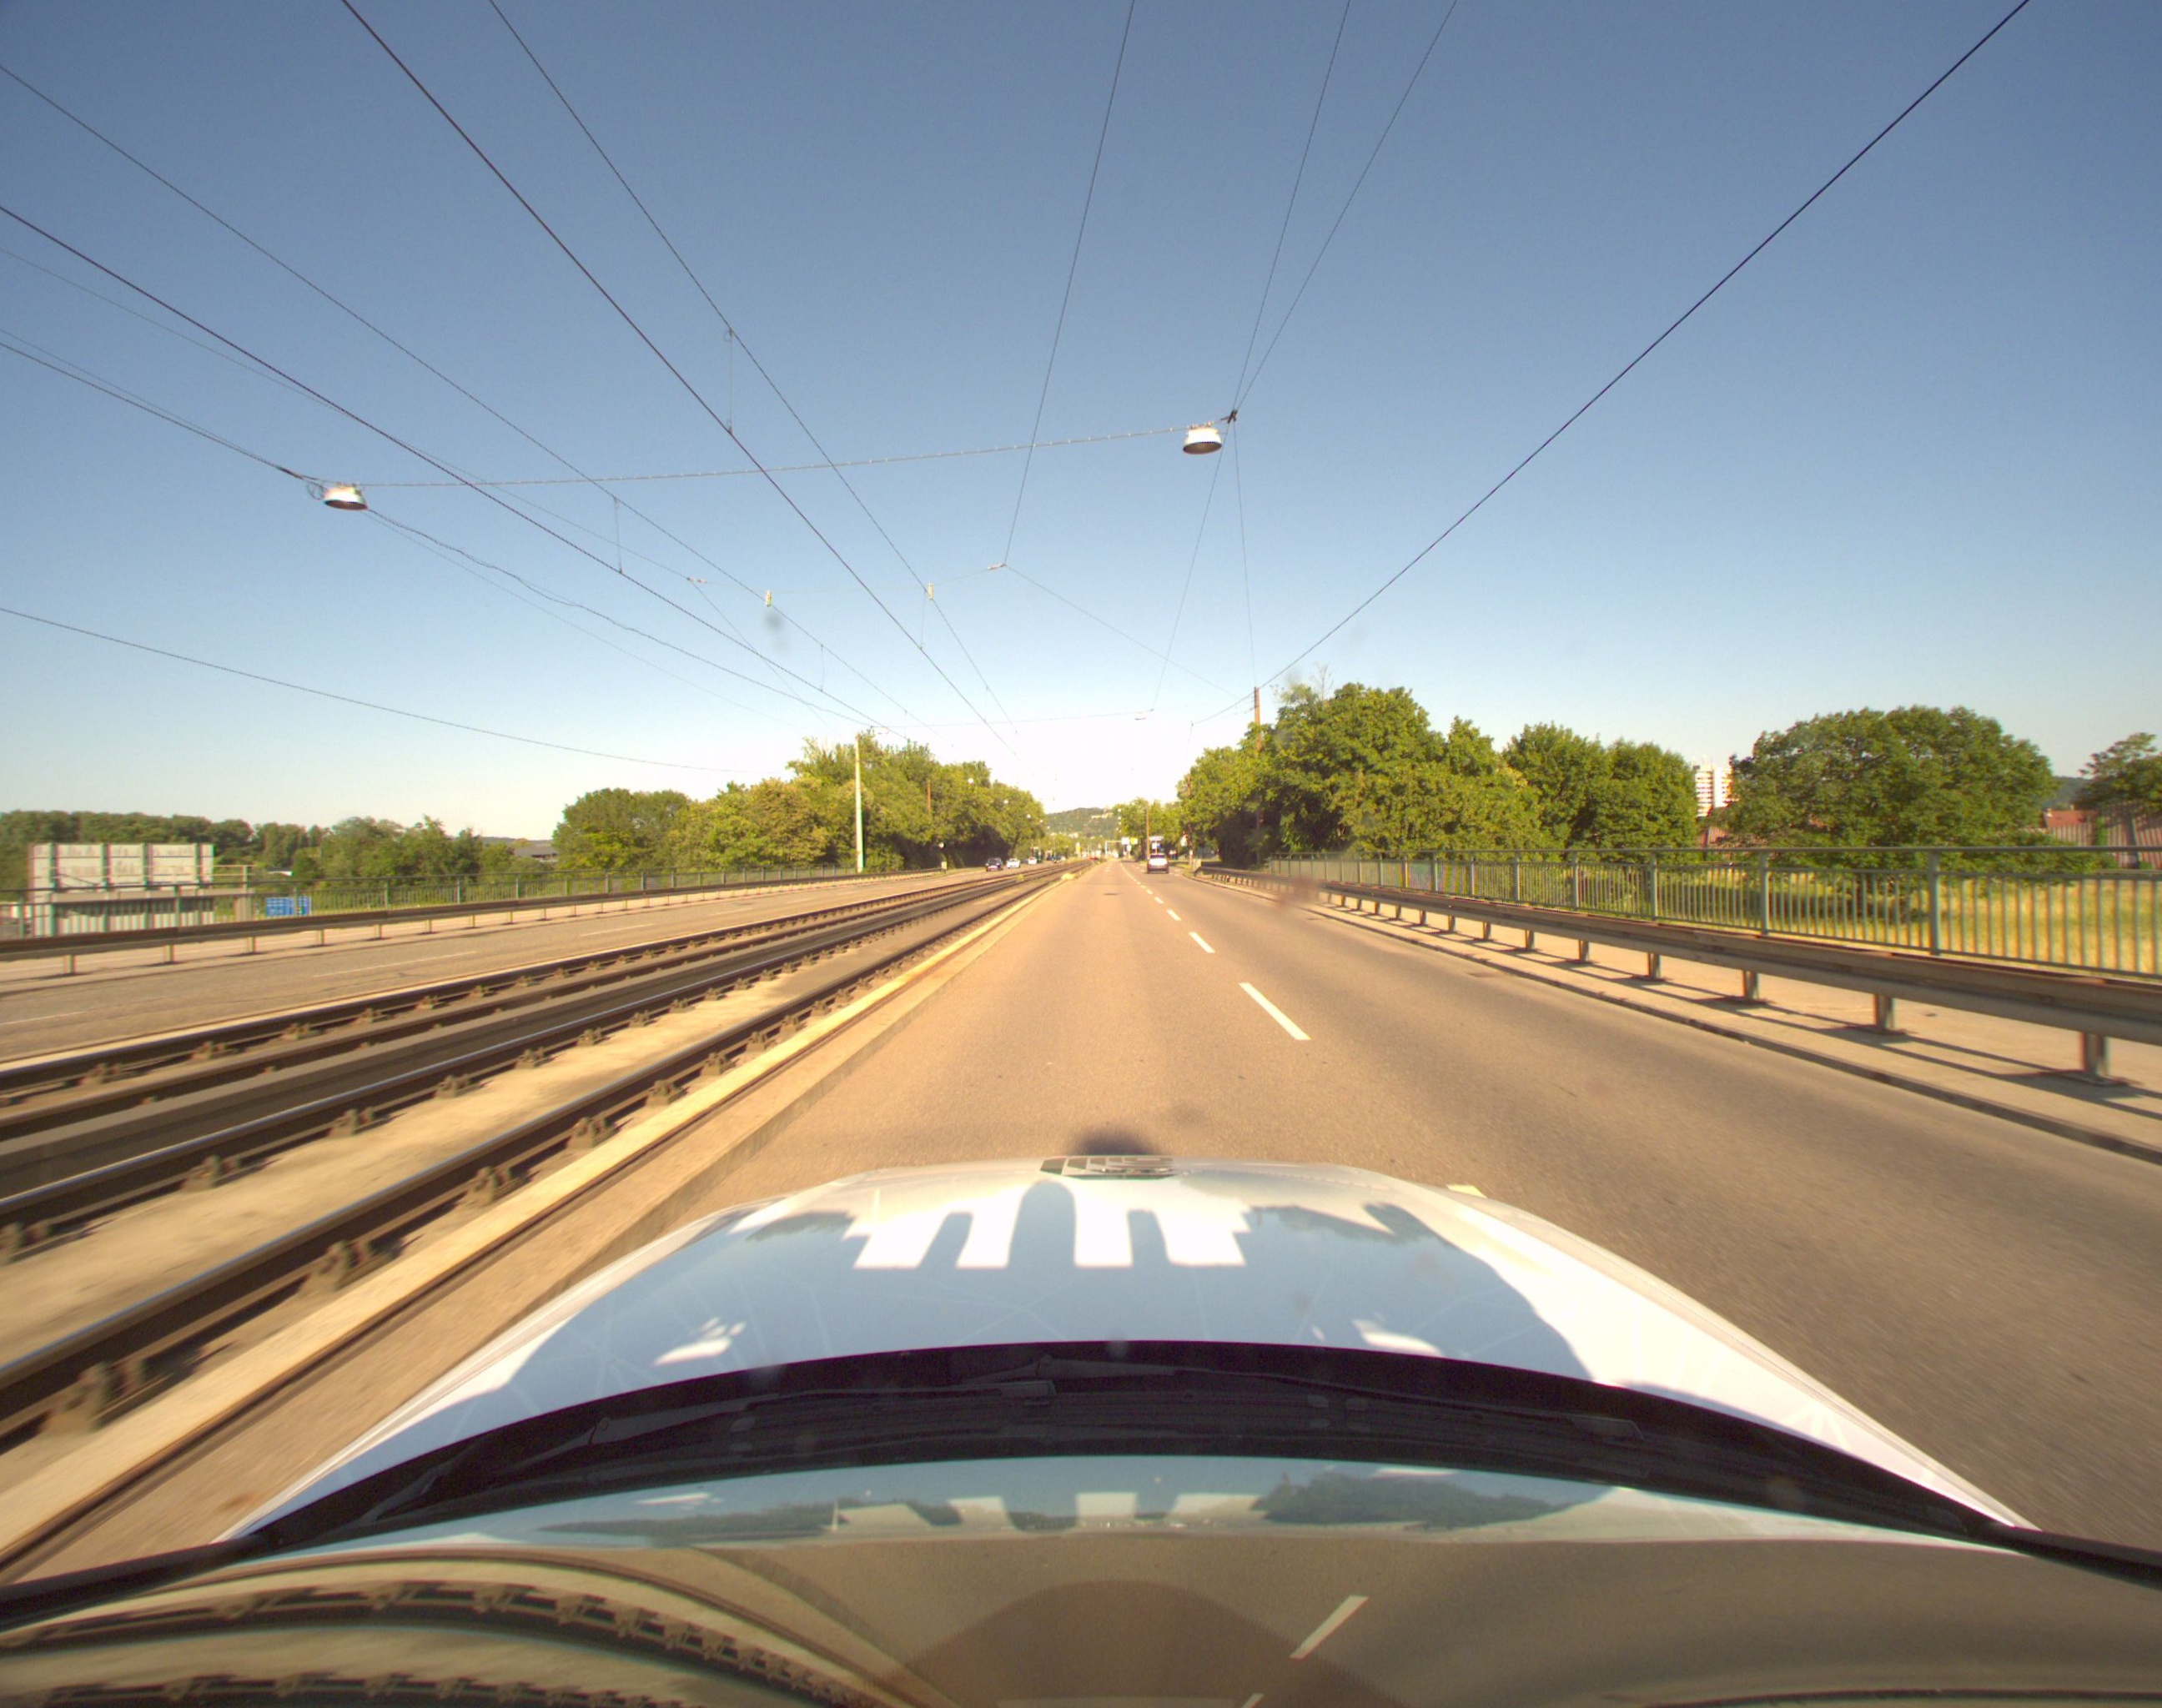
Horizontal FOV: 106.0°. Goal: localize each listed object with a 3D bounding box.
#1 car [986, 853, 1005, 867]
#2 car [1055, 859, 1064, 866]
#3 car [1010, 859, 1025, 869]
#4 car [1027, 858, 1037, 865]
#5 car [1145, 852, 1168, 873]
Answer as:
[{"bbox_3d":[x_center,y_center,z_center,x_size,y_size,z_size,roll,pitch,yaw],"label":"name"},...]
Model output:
[{"bbox_3d":[-10.573,0.759,100.967,1.703,1.580,4.802,-2,0,1],"label":"car"},{"bbox_3d":[-4.999,1.877,185.878,1.650,1.432,4.505,-3,0,3],"label":"car"},{"bbox_3d":[-9.754,1.544,125.154,1.749,1.414,4.878,-3,0,1],"label":"car"},{"bbox_3d":[-11.490,1.802,190.478,1.684,1.556,4.194,-3,0,3],"label":"car"},{"bbox_3d":[6.368,0.705,68.131,1.799,1.773,3.869,0,0,7],"label":"car"}]
